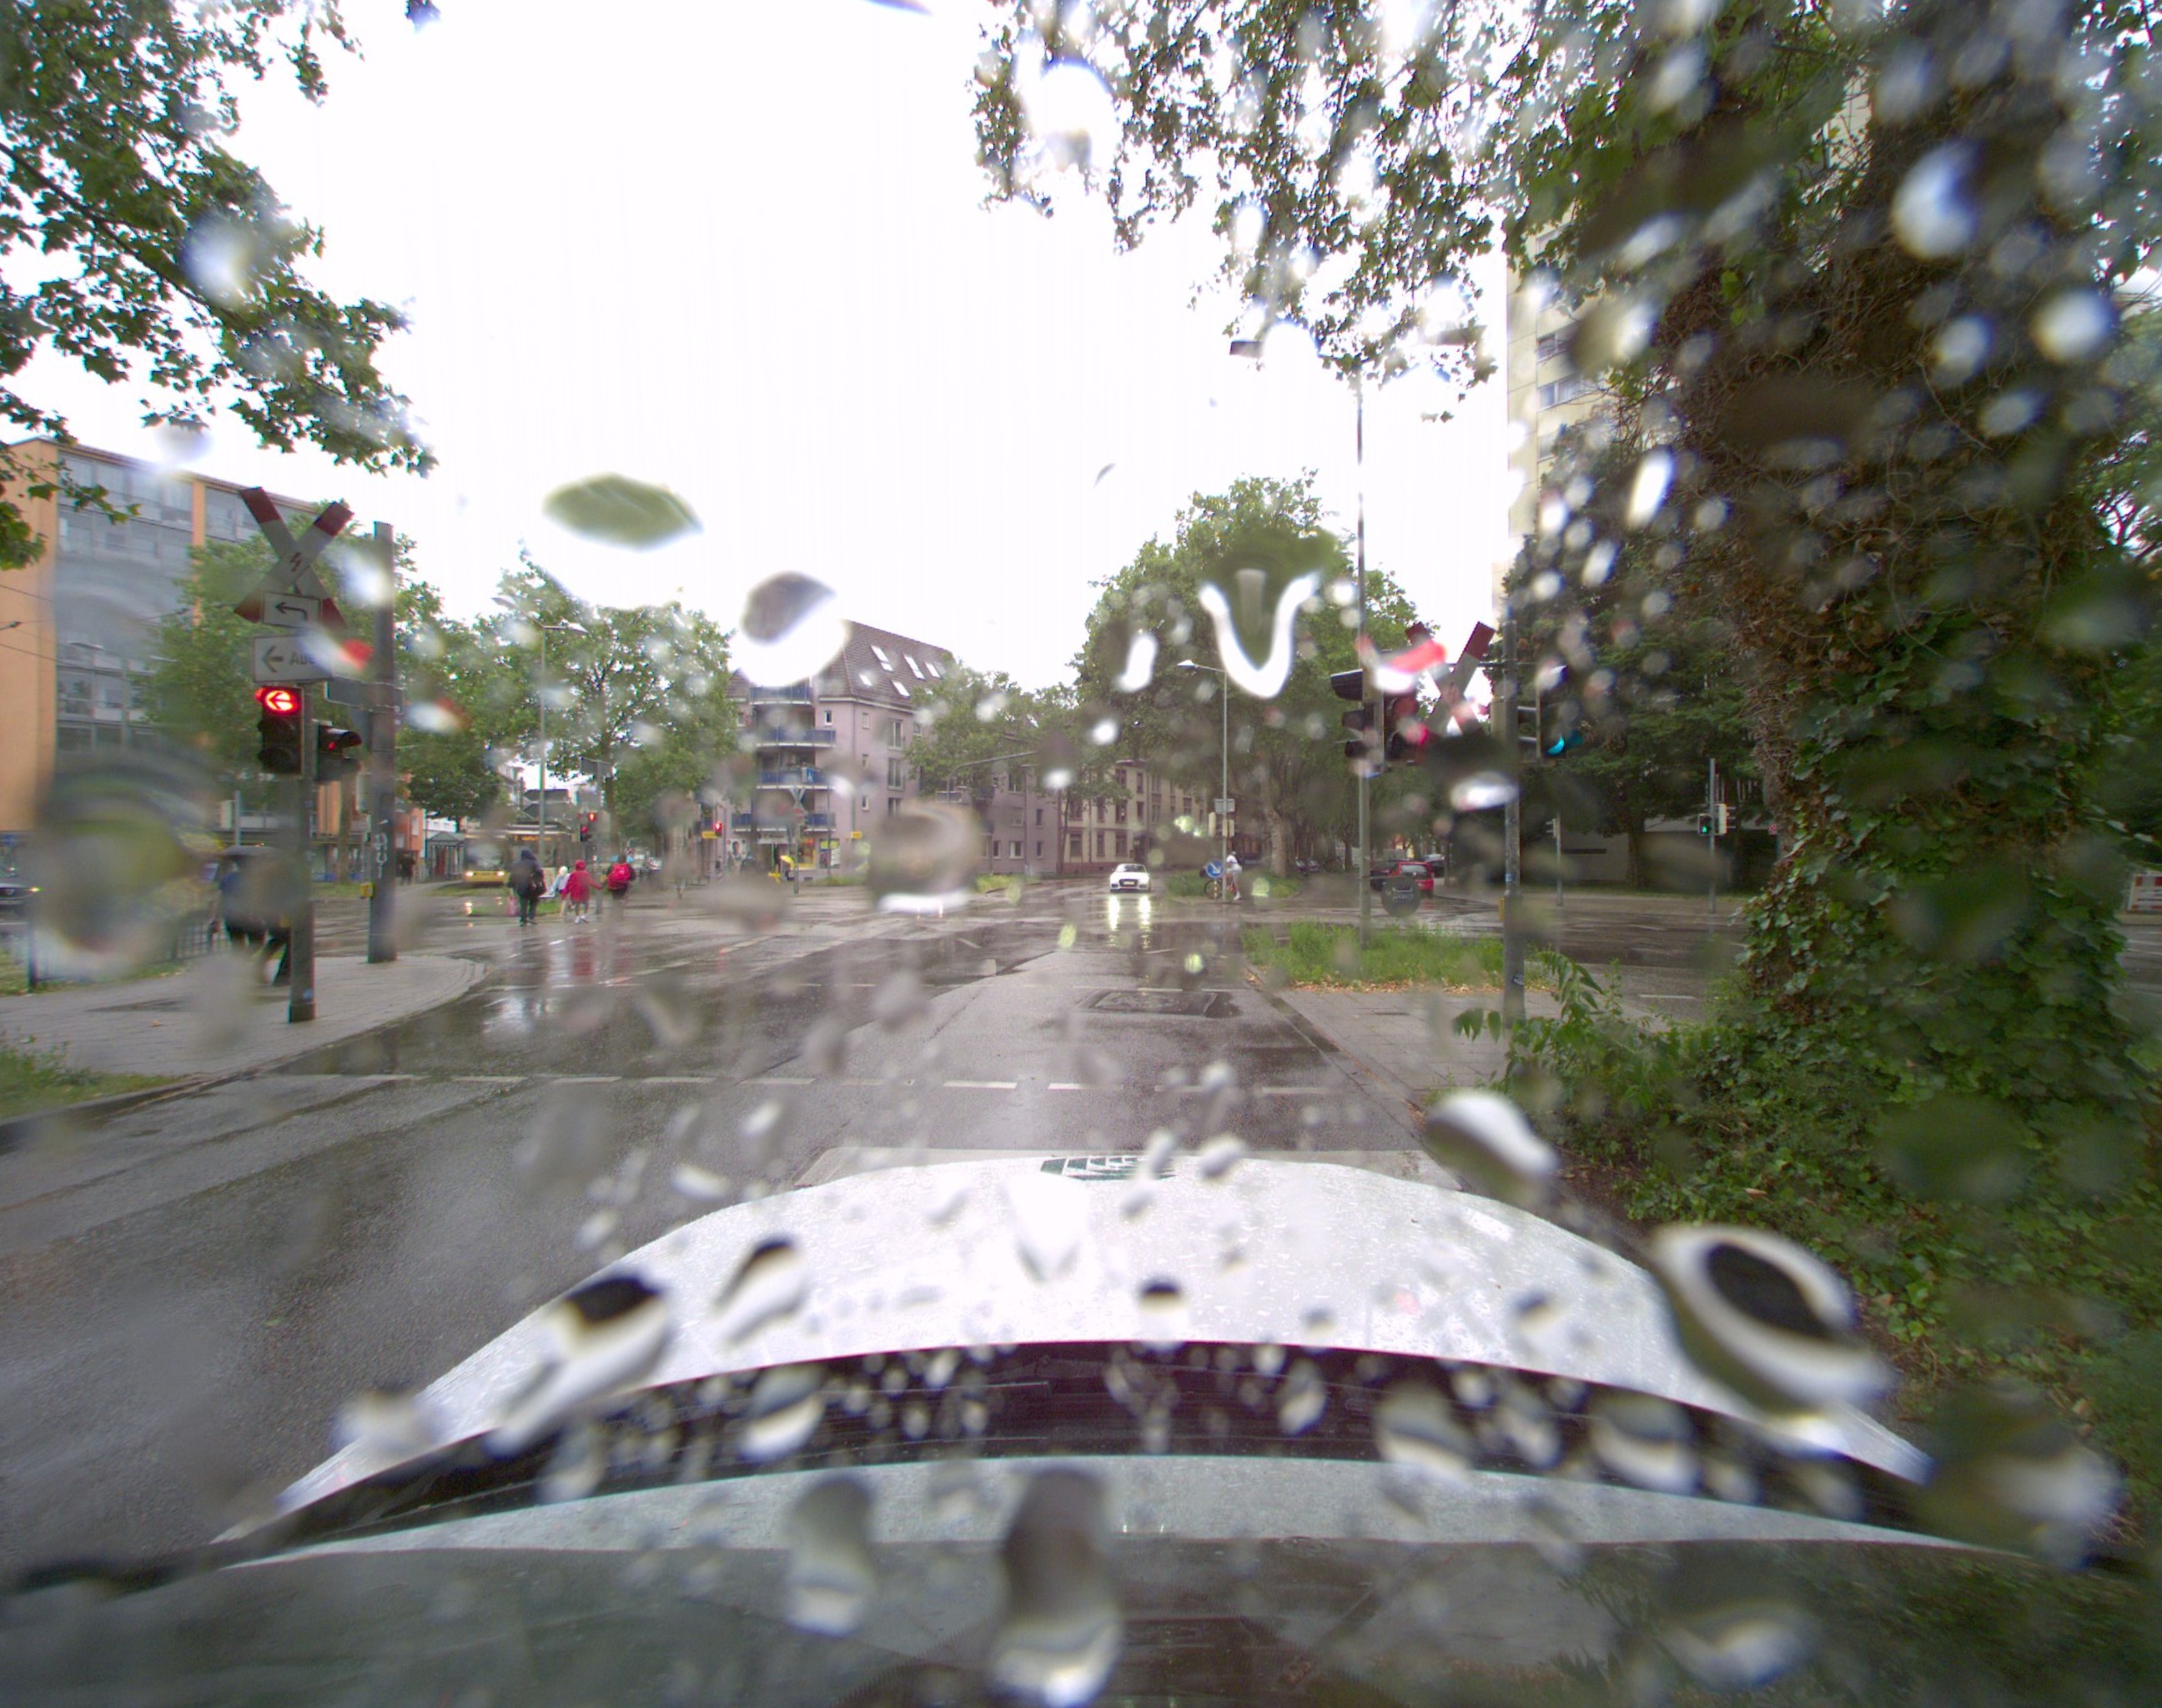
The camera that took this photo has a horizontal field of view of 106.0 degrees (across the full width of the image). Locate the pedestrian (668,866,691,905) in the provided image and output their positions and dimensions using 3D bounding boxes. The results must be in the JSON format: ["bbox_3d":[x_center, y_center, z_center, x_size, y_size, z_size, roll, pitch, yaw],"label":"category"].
[{"bbox_3d":[-14.785,1.157,29.994,0.653,1.396,0.774,0,0,-33],"label":"pedestrian"}]

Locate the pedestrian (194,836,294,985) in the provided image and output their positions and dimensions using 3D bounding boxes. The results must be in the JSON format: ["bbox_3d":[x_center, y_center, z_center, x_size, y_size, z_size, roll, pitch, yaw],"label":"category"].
[{"bbox_3d":[-11.055,0.704,10.796,0.876,1.864,0.881,0,0,-43],"label":"pedestrian"}]

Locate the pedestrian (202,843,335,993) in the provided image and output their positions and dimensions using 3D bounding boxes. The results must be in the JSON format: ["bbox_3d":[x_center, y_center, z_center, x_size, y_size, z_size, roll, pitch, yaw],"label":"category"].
[{"bbox_3d":[-10.017,0.750,10.081,0.867,1.755,0.826,0,0,-18],"label":"pedestrian"}]

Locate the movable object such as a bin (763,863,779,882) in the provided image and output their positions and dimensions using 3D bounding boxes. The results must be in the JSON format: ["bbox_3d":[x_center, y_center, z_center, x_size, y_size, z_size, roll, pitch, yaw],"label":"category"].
[{"bbox_3d":[-19.764,1.168,51.909,0.748,1.236,0.667,0,-1,-1],"label":"movable object such as a bin"}]

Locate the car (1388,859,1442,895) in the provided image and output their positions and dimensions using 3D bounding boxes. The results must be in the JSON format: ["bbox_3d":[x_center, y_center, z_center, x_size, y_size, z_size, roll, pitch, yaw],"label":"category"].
[{"bbox_3d":[14.821,0.984,36.323,1.778,1.498,4.017,0,0,16],"label":"car"}]

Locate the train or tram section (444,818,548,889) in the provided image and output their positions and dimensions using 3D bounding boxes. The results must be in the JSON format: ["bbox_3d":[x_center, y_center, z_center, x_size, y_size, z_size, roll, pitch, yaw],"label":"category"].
[{"bbox_3d":[-36.344,0.071,51.299,2.897,3.768,17.089,0,-1,-28],"label":"train or tram section"}]

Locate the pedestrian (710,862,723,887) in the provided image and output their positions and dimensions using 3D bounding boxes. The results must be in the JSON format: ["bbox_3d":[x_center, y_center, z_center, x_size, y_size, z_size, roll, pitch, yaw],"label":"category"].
[{"bbox_3d":[-23.486,1.300,52.530,0.677,1.600,0.959,0,-1,-29],"label":"pedestrian"}]

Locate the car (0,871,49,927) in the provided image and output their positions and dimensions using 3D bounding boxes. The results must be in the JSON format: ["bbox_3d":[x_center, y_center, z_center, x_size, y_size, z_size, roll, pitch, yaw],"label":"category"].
[{"bbox_3d":[-32.266,1.290,23.385,3.994,1.530,1.615,0,1,12],"label":"car"}]

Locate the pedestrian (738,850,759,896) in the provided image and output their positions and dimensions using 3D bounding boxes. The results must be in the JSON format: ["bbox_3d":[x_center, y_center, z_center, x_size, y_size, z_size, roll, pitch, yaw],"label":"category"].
[{"bbox_3d":[-13.627,0.753,33.414,0.791,1.855,0.676,0,0,-22],"label":"pedestrian"}]

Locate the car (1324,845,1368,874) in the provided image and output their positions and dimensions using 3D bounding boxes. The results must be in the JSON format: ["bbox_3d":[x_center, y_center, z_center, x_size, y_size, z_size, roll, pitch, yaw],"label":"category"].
[{"bbox_3d":[28.315,0.592,87.206,2.040,2.948,4.742,0,-1,-18],"label":"car"}]

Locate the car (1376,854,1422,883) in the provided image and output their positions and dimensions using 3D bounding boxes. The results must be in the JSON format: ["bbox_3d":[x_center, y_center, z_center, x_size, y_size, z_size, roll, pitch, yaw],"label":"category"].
[{"bbox_3d":[15.889,0.700,40.859,1.770,1.348,3.945,0,1,16],"label":"car"}]

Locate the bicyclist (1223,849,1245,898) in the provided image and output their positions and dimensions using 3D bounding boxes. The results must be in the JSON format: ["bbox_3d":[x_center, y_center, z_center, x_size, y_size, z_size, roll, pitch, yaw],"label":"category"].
[{"bbox_3d":[5.686,0.719,30.355,0.790,1.786,0.699,-1,-1,9],"label":"bicyclist"}]

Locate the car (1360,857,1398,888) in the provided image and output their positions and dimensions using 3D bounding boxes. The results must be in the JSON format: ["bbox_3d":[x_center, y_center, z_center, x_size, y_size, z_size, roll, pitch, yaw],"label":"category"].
[{"bbox_3d":[17.320,1.067,47.415,1.769,1.727,4.017,-1,-1,16],"label":"car"}]

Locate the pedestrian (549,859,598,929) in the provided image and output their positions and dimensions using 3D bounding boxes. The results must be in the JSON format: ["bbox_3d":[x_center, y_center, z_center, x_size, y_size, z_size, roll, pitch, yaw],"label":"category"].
[{"bbox_3d":[-11.331,0.876,18.198,0.681,1.520,0.658,-1,0,-7],"label":"pedestrian"}]

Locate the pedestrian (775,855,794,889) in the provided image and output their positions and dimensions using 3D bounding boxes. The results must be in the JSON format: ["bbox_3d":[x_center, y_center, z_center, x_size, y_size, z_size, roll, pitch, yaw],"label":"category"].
[{"bbox_3d":[-18.865,1.150,51.837,0.905,2.151,0.887,0,-1,0],"label":"pedestrian"}]

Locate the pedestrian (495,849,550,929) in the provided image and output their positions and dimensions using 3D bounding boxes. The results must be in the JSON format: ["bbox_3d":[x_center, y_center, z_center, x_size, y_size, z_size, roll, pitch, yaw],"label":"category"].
[{"bbox_3d":[-12.384,0.752,18.056,0.844,1.698,0.680,-4,3,-42],"label":"pedestrian"}]

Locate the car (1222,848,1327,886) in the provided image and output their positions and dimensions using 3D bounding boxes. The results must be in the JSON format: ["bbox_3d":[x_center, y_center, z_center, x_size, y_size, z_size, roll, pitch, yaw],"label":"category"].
[{"bbox_3d":[7.748,0.522,32.652,3.958,1.486,2.008,-1,-1,14],"label":"car"}]

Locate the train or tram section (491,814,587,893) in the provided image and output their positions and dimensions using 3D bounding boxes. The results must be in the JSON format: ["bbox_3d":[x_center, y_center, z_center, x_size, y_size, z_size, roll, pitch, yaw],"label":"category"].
[{"bbox_3d":[-28.578,0.006,43.611,2.877,3.545,15.231,0,0,-28],"label":"train or tram section"}]

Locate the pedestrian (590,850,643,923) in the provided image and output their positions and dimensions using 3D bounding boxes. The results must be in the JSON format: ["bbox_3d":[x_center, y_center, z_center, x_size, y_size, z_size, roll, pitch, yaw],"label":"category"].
[{"bbox_3d":[-10.661,0.722,18.724,0.728,1.624,0.816,-1,1,-5],"label":"pedestrian"}]

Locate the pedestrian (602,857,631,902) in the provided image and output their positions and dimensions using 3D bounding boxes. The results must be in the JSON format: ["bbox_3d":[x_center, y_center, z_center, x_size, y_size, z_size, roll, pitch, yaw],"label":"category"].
[{"bbox_3d":[-18.781,1.013,32.931,0.962,1.766,0.944,0,-1,-28],"label":"pedestrian"}]

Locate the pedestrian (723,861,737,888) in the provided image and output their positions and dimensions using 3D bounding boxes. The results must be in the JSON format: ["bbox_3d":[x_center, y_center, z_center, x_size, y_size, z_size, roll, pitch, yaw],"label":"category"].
[{"bbox_3d":[-20.309,1.183,47.126,0.752,1.533,0.786,0,-1,-22],"label":"pedestrian"}]

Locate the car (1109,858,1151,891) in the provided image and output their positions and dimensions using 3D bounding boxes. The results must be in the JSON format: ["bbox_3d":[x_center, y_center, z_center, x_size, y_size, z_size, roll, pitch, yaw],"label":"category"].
[{"bbox_3d":[2.375,0.941,39.160,1.876,1.436,4.004,0,0,4],"label":"car"}]

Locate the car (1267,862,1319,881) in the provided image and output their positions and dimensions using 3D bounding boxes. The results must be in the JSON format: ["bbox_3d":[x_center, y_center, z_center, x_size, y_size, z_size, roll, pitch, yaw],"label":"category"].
[{"bbox_3d":[16.936,1.419,65.210,3.958,1.486,2.008,-1,-1,14],"label":"car"}]

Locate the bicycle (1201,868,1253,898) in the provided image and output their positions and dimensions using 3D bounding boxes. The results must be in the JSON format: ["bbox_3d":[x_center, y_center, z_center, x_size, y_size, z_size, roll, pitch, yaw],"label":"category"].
[{"bbox_3d":[5.445,1.073,30.388,1.862,1.081,0.658,-1,-1,9],"label":"bicycle"}]

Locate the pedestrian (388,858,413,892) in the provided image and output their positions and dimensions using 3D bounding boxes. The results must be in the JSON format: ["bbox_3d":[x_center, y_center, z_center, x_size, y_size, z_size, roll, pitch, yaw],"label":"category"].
[{"bbox_3d":[-35.730,1.104,42.783,0.965,1.766,0.941,0,-1,-39],"label":"pedestrian"}]

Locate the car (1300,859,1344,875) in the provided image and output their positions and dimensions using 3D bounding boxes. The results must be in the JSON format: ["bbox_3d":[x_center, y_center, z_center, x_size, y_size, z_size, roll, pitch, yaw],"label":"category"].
[{"bbox_3d":[23.130,1.258,78.250,3.958,1.547,2.008,-1,-1,14],"label":"car"}]

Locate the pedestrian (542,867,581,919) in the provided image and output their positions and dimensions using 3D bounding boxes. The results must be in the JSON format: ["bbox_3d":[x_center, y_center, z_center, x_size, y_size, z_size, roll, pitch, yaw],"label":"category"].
[{"bbox_3d":[-13.718,1.015,21.536,0.657,1.349,0.706,0,0,-12],"label":"pedestrian"}]

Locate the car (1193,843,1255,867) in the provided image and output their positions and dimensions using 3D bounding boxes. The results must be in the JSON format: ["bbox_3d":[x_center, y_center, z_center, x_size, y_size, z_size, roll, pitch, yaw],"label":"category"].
[{"bbox_3d":[9.440,0.070,53.721,3.838,1.486,1.723,-1,-1,14],"label":"car"}]

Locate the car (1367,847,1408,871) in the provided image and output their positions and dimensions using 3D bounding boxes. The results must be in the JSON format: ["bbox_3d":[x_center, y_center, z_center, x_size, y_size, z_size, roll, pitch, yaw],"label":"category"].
[{"bbox_3d":[38.980,0.645,103.558,2.006,2.948,4.726,0,-1,-29],"label":"car"}]

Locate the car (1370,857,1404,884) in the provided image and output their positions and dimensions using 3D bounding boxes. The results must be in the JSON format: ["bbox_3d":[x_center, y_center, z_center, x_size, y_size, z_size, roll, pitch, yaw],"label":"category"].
[{"bbox_3d":[21.165,1.093,56.457,1.908,1.806,4.017,-1,-1,16],"label":"car"}]

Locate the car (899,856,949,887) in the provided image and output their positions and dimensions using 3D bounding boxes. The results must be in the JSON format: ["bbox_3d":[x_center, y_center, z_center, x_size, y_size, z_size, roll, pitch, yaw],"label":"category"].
[{"bbox_3d":[-8.012,0.861,41.829,1.745,1.512,3.839,0,0,1],"label":"car"}]

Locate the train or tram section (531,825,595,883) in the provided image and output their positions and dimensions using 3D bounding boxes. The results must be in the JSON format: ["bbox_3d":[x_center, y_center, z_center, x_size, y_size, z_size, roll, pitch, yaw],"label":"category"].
[{"bbox_3d":[-35.524,0.046,56.230,2.877,3.545,13.588,0,0,-29],"label":"train or tram section"}]
